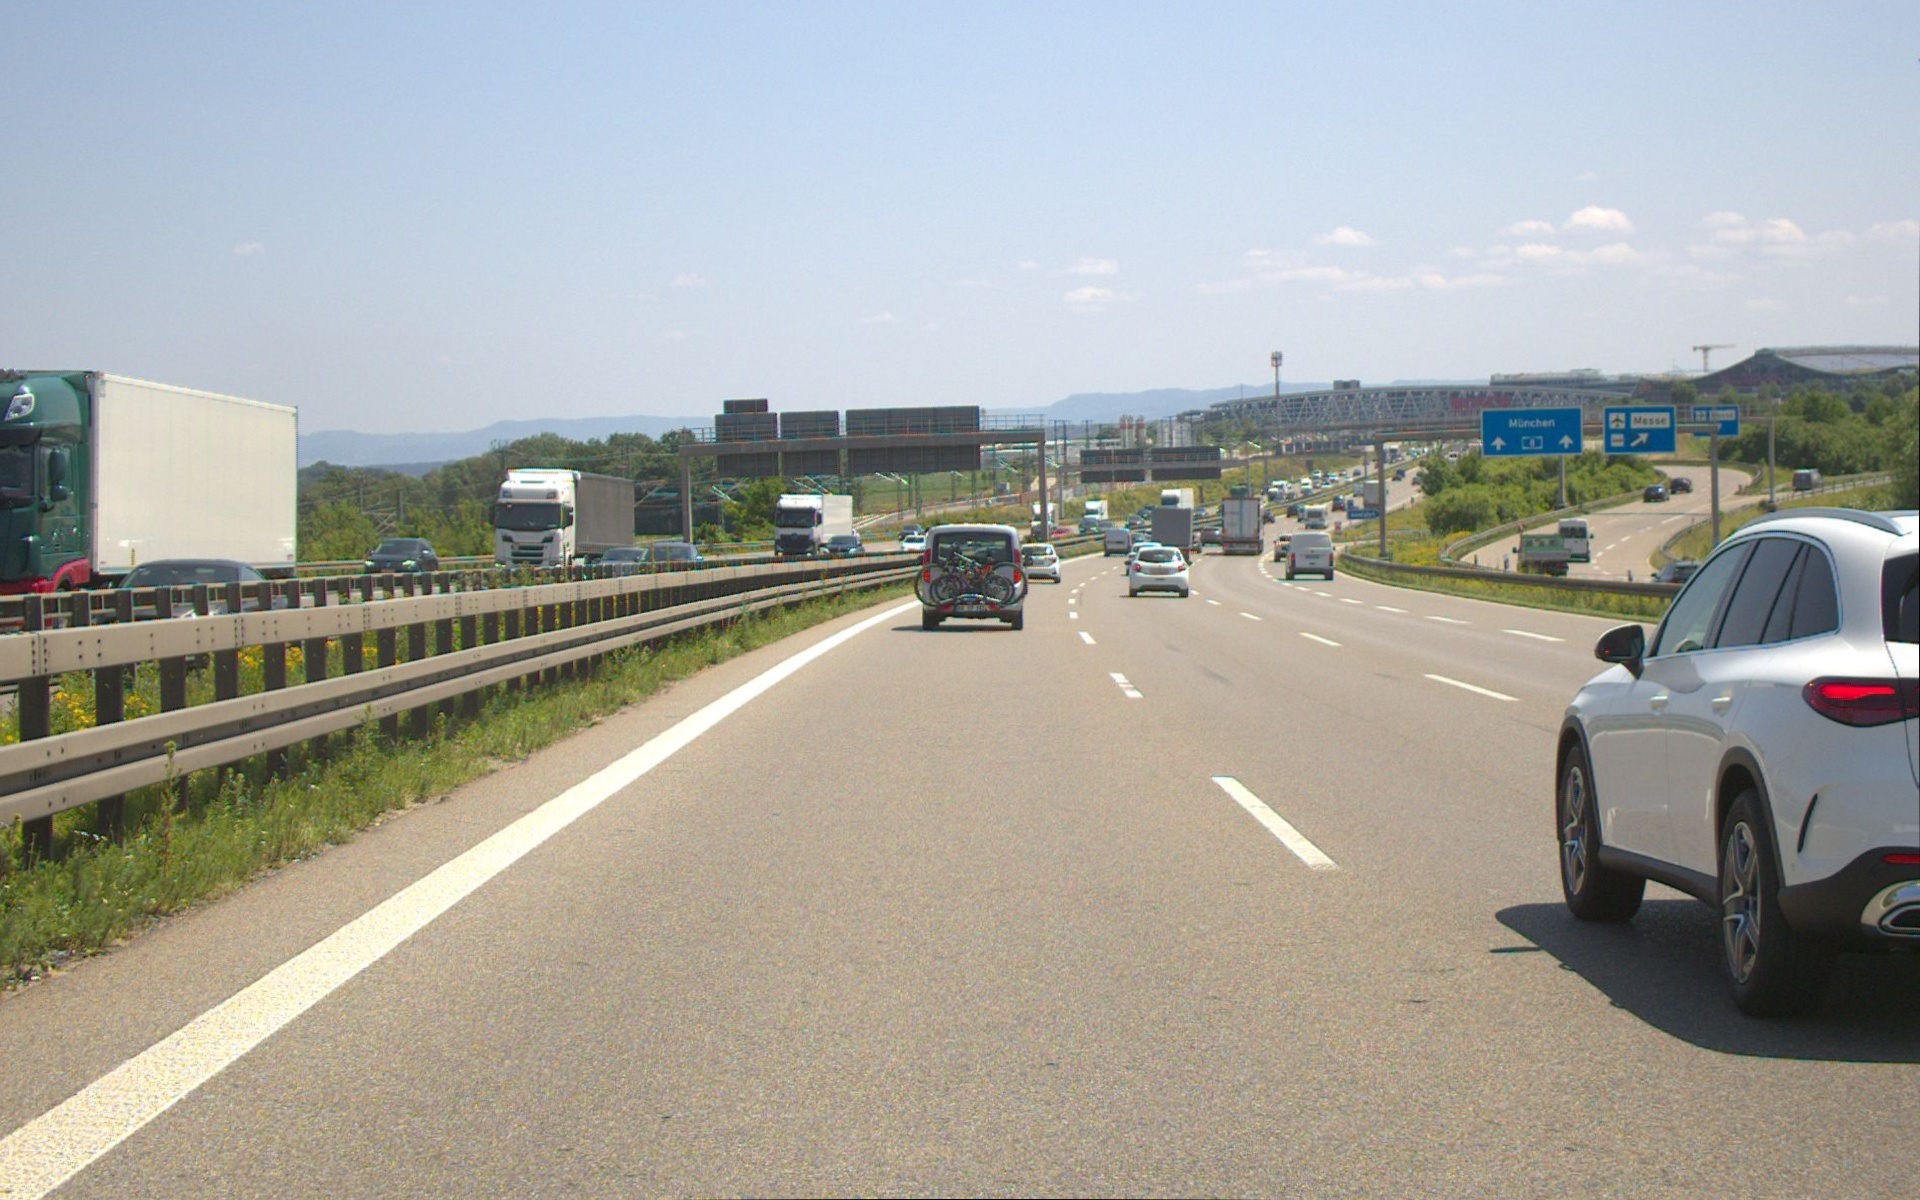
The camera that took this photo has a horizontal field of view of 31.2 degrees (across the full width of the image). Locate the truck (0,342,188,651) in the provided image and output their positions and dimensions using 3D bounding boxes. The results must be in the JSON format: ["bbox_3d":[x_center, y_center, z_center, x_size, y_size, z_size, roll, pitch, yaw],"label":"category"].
[{"bbox_3d":[-13.440,-1.431,49.509,2.967,4.105,7.598,0,1,0],"label":"truck"}]

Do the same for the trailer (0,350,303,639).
[{"bbox_3d":[-13.430,-1.662,57.288,2.955,4.357,10.733,0,1,0],"label":"trailer"}]

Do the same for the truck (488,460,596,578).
[{"bbox_3d":[-14.911,-2.885,122.947,2.881,4.103,6.384,1,1,2],"label":"truck"}]

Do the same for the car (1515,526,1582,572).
[{"bbox_3d":[26.308,-2.293,153.827,1.993,2.007,4.001,0,1,-5],"label":"car"}]

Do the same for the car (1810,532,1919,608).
[{"bbox_3d":[23.603,-0.782,89.456,1.939,1.917,4.179,0,1,0],"label":"car"}]

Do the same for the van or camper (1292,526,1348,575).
[{"bbox_3d":[15.086,-2.079,144.326,2.156,2.007,4.304,0,1,3],"label":"van or camper"}]

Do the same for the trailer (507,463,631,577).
[{"bbox_3d":[-14.708,-3.000,130.251,2.890,4.099,12.585,1,1,2],"label":"trailer"}]

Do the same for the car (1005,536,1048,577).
[{"bbox_3d":[2.530,-1.646,130.091,1.576,1.547,3.964,0,1,1],"label":"car"}]

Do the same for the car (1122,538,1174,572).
[{"bbox_3d":[8.484,-2.033,154.886,1.982,1.468,3.999,0,1,8],"label":"car"}]

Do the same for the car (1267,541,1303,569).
[{"bbox_3d":[20.133,-2.798,213.170,1.994,1.684,4.000,0,1,2],"label":"car"}]

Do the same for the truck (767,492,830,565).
[{"bbox_3d":[-9.502,-4.214,202.935,3.035,4.226,6.684,0,1,3],"label":"truck"}]

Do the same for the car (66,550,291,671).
[{"bbox_3d":[-9.521,0.094,42.206,1.804,1.385,4.291,0,1,0],"label":"car"}]

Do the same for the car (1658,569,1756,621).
[{"bbox_3d":[23.837,-0.170,109.849,1.993,1.590,4.001,0,1,-4],"label":"car"}]

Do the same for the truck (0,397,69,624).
[{"bbox_3d":[-17.579,-1.462,55.224,3.218,3.772,12.902,0,1,0],"label":"truck"}]

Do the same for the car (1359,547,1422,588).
[{"bbox_3d":[17.842,-1.354,142.767,1.993,1.684,4.000,0,1,-2],"label":"car"}]

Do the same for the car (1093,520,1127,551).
[{"bbox_3d":[9.990,-4.298,228.879,2.186,1.996,4.000,0,1,3],"label":"car"}]

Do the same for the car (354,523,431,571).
[{"bbox_3d":[-19.317,-1.813,117.100,1.878,1.608,4.000,0,1,1],"label":"car"}]

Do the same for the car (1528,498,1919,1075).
[{"bbox_3d":[3.379,0.501,12.268,1.898,1.641,4.999,0,1,0],"label":"car"}]

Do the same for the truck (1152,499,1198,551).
[{"bbox_3d":[13.382,-4.604,213.404,2.703,3.098,10.657,0,1,4],"label":"truck"}]

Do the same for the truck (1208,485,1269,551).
[{"bbox_3d":[19.535,-5.798,240.285,4.040,4.247,11.756,0,3,6],"label":"truck"}]

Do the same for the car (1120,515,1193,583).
[{"bbox_3d":[5.697,-1.473,100.058,1.926,1.912,4.518,0,1,1],"label":"car"}]

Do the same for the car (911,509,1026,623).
[{"bbox_3d":[0.163,-0.601,60.200,1.926,1.912,4.948,0,1,0],"label":"car"}]

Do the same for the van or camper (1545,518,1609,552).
[{"bbox_3d":[36.659,-3.843,204.322,2.528,2.007,4.462,0,1,-7],"label":"van or camper"}]
